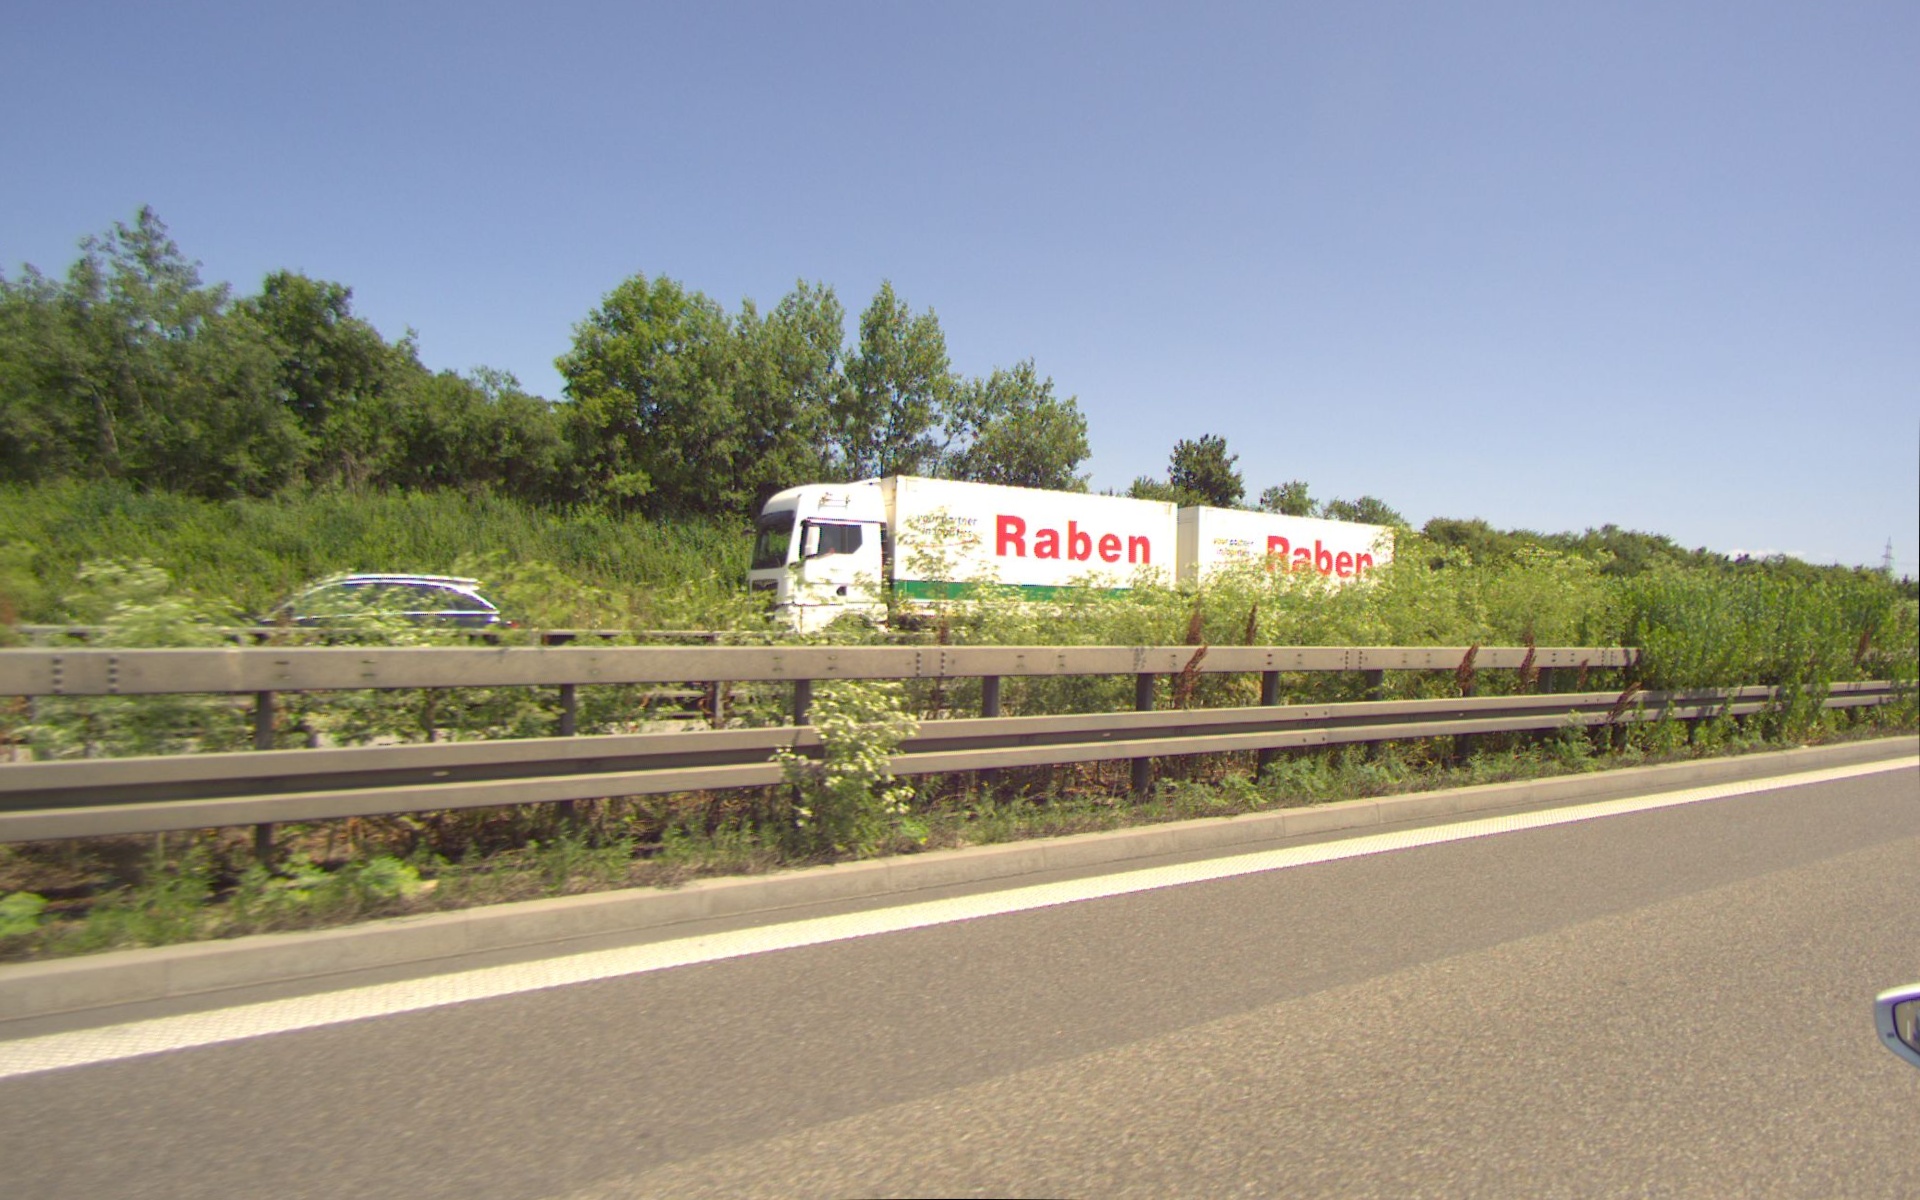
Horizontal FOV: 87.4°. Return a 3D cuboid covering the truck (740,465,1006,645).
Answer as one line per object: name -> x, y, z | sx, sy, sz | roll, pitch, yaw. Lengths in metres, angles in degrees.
truck -> -1.827, -0.792, 21.400 | 4.986, 3.395, 2.584 | 2, -1, -31

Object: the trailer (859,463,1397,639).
trailer -> 5.084, -0.835, 25.623 | 15.650, 3.488, 2.584 | 2, -1, -31
